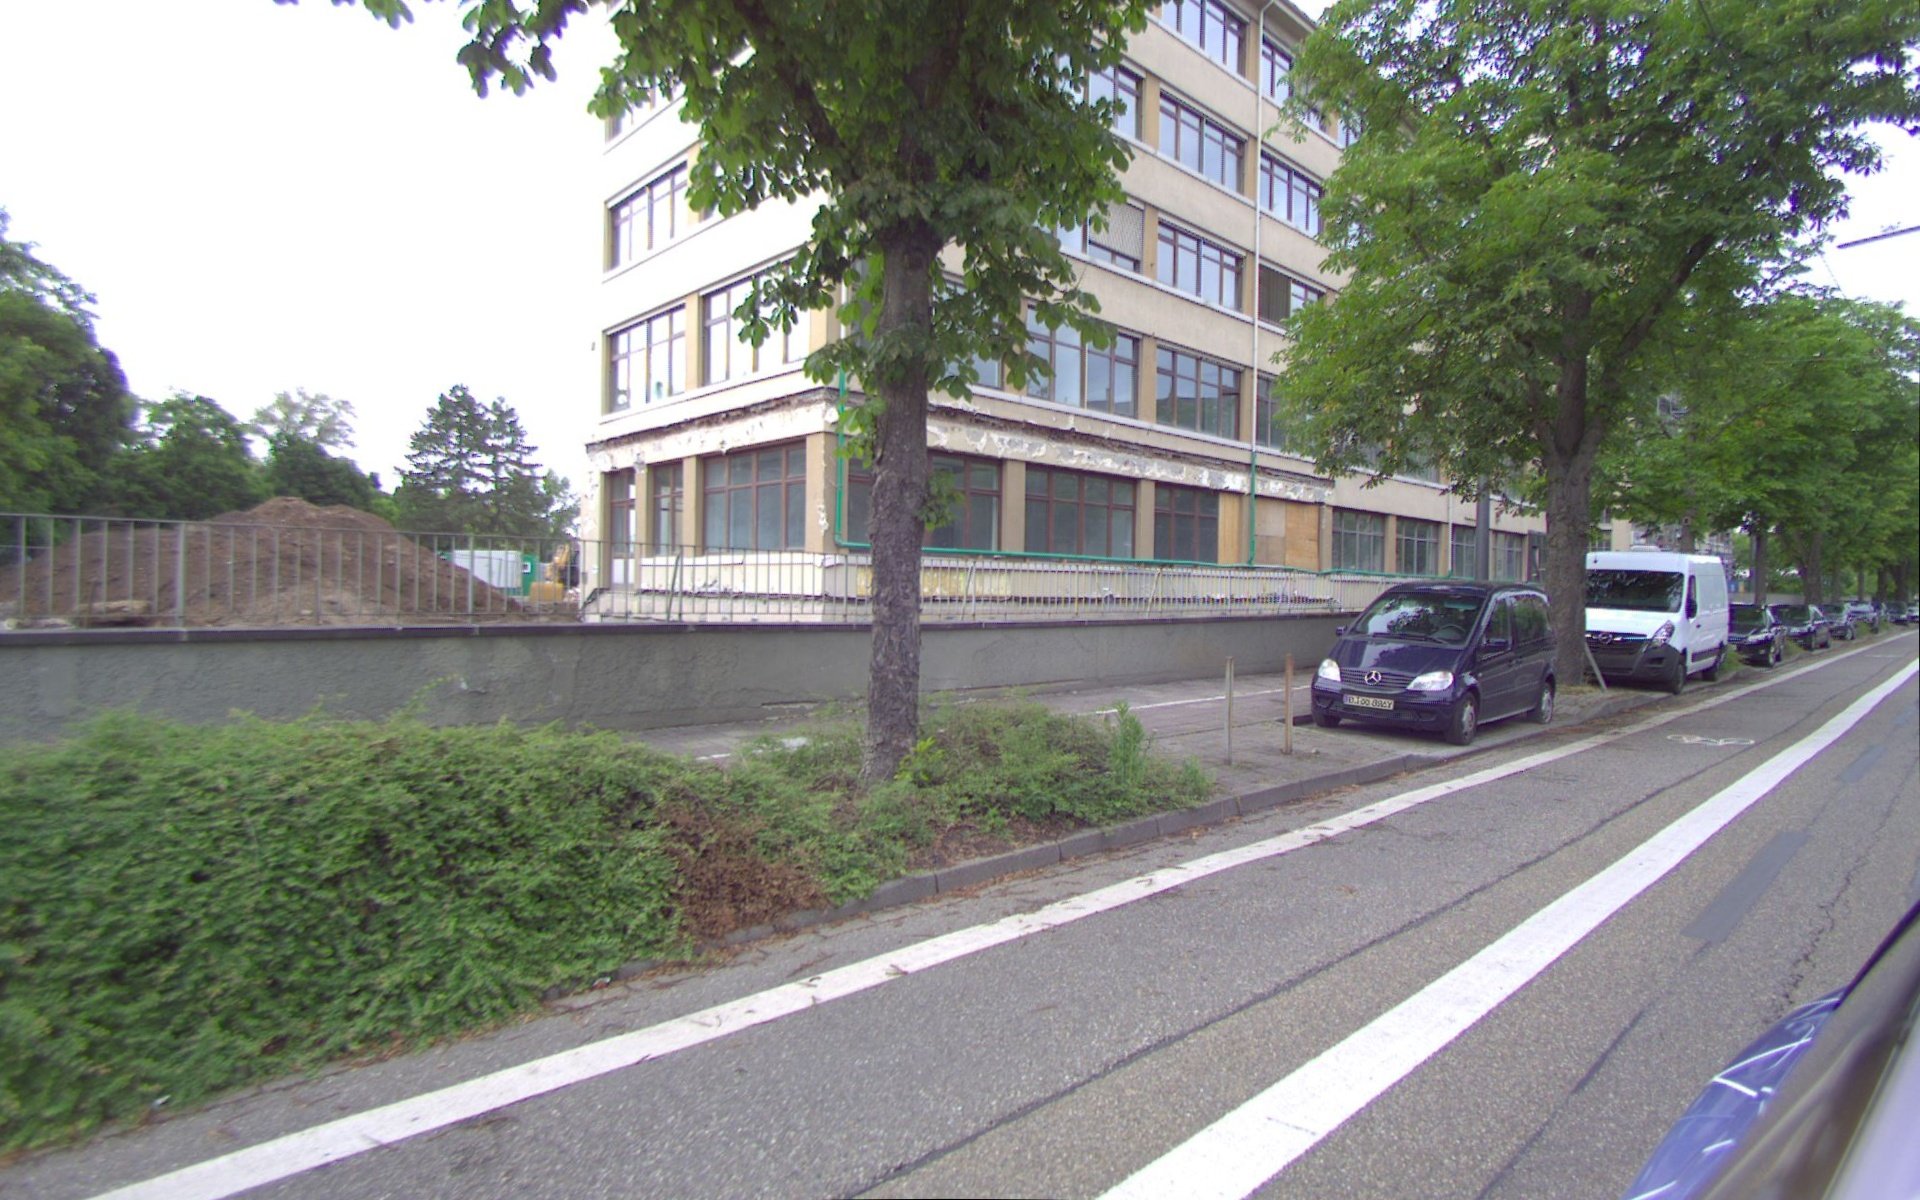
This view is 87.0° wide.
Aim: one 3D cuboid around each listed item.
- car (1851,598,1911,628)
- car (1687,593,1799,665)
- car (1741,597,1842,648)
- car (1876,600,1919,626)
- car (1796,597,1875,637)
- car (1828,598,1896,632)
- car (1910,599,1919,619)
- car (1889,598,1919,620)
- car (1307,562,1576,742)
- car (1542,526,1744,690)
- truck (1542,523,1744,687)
[{"bbox_3d":[47.052,0.638,51.689,4.320,1.479,1.995,0,0,-44],"label":"car"},{"bbox_3d":[19.652,0.654,25.354,1.821,1.518,4.043,4,3,43],"label":"car"},{"bbox_3d":[26.327,0.665,31.997,4.320,1.479,1.995,0,0,-44],"label":"car"},{"bbox_3d":[57.446,0.773,61.760,4.320,1.479,1.995,0,0,-44],"label":"car"},{"bbox_3d":[34.635,0.625,39.986,4.320,1.479,1.995,0,0,-44],"label":"car"},{"bbox_3d":[41.272,0.647,46.284,4.320,1.479,1.995,0,0,-44],"label":"car"},{"bbox_3d":[75.784,0.707,79.102,4.320,1.479,1.995,0,0,-44],"label":"car"},{"bbox_3d":[65.761,0.624,69.991,4.320,1.479,1.995,0,0,-44],"label":"car"},{"bbox_3d":[5.956,0.494,12.300,4.017,1.835,1.655,-1,1,-44],"label":"car"},{"bbox_3d":[12.920,0.117,18.978,5.401,2.635,2.114,0,0,-44],"label":"car"},{"bbox_3d":[12.929,0.072,18.991,5.401,2.635,2.114,0,0,-44],"label":"truck"}]
